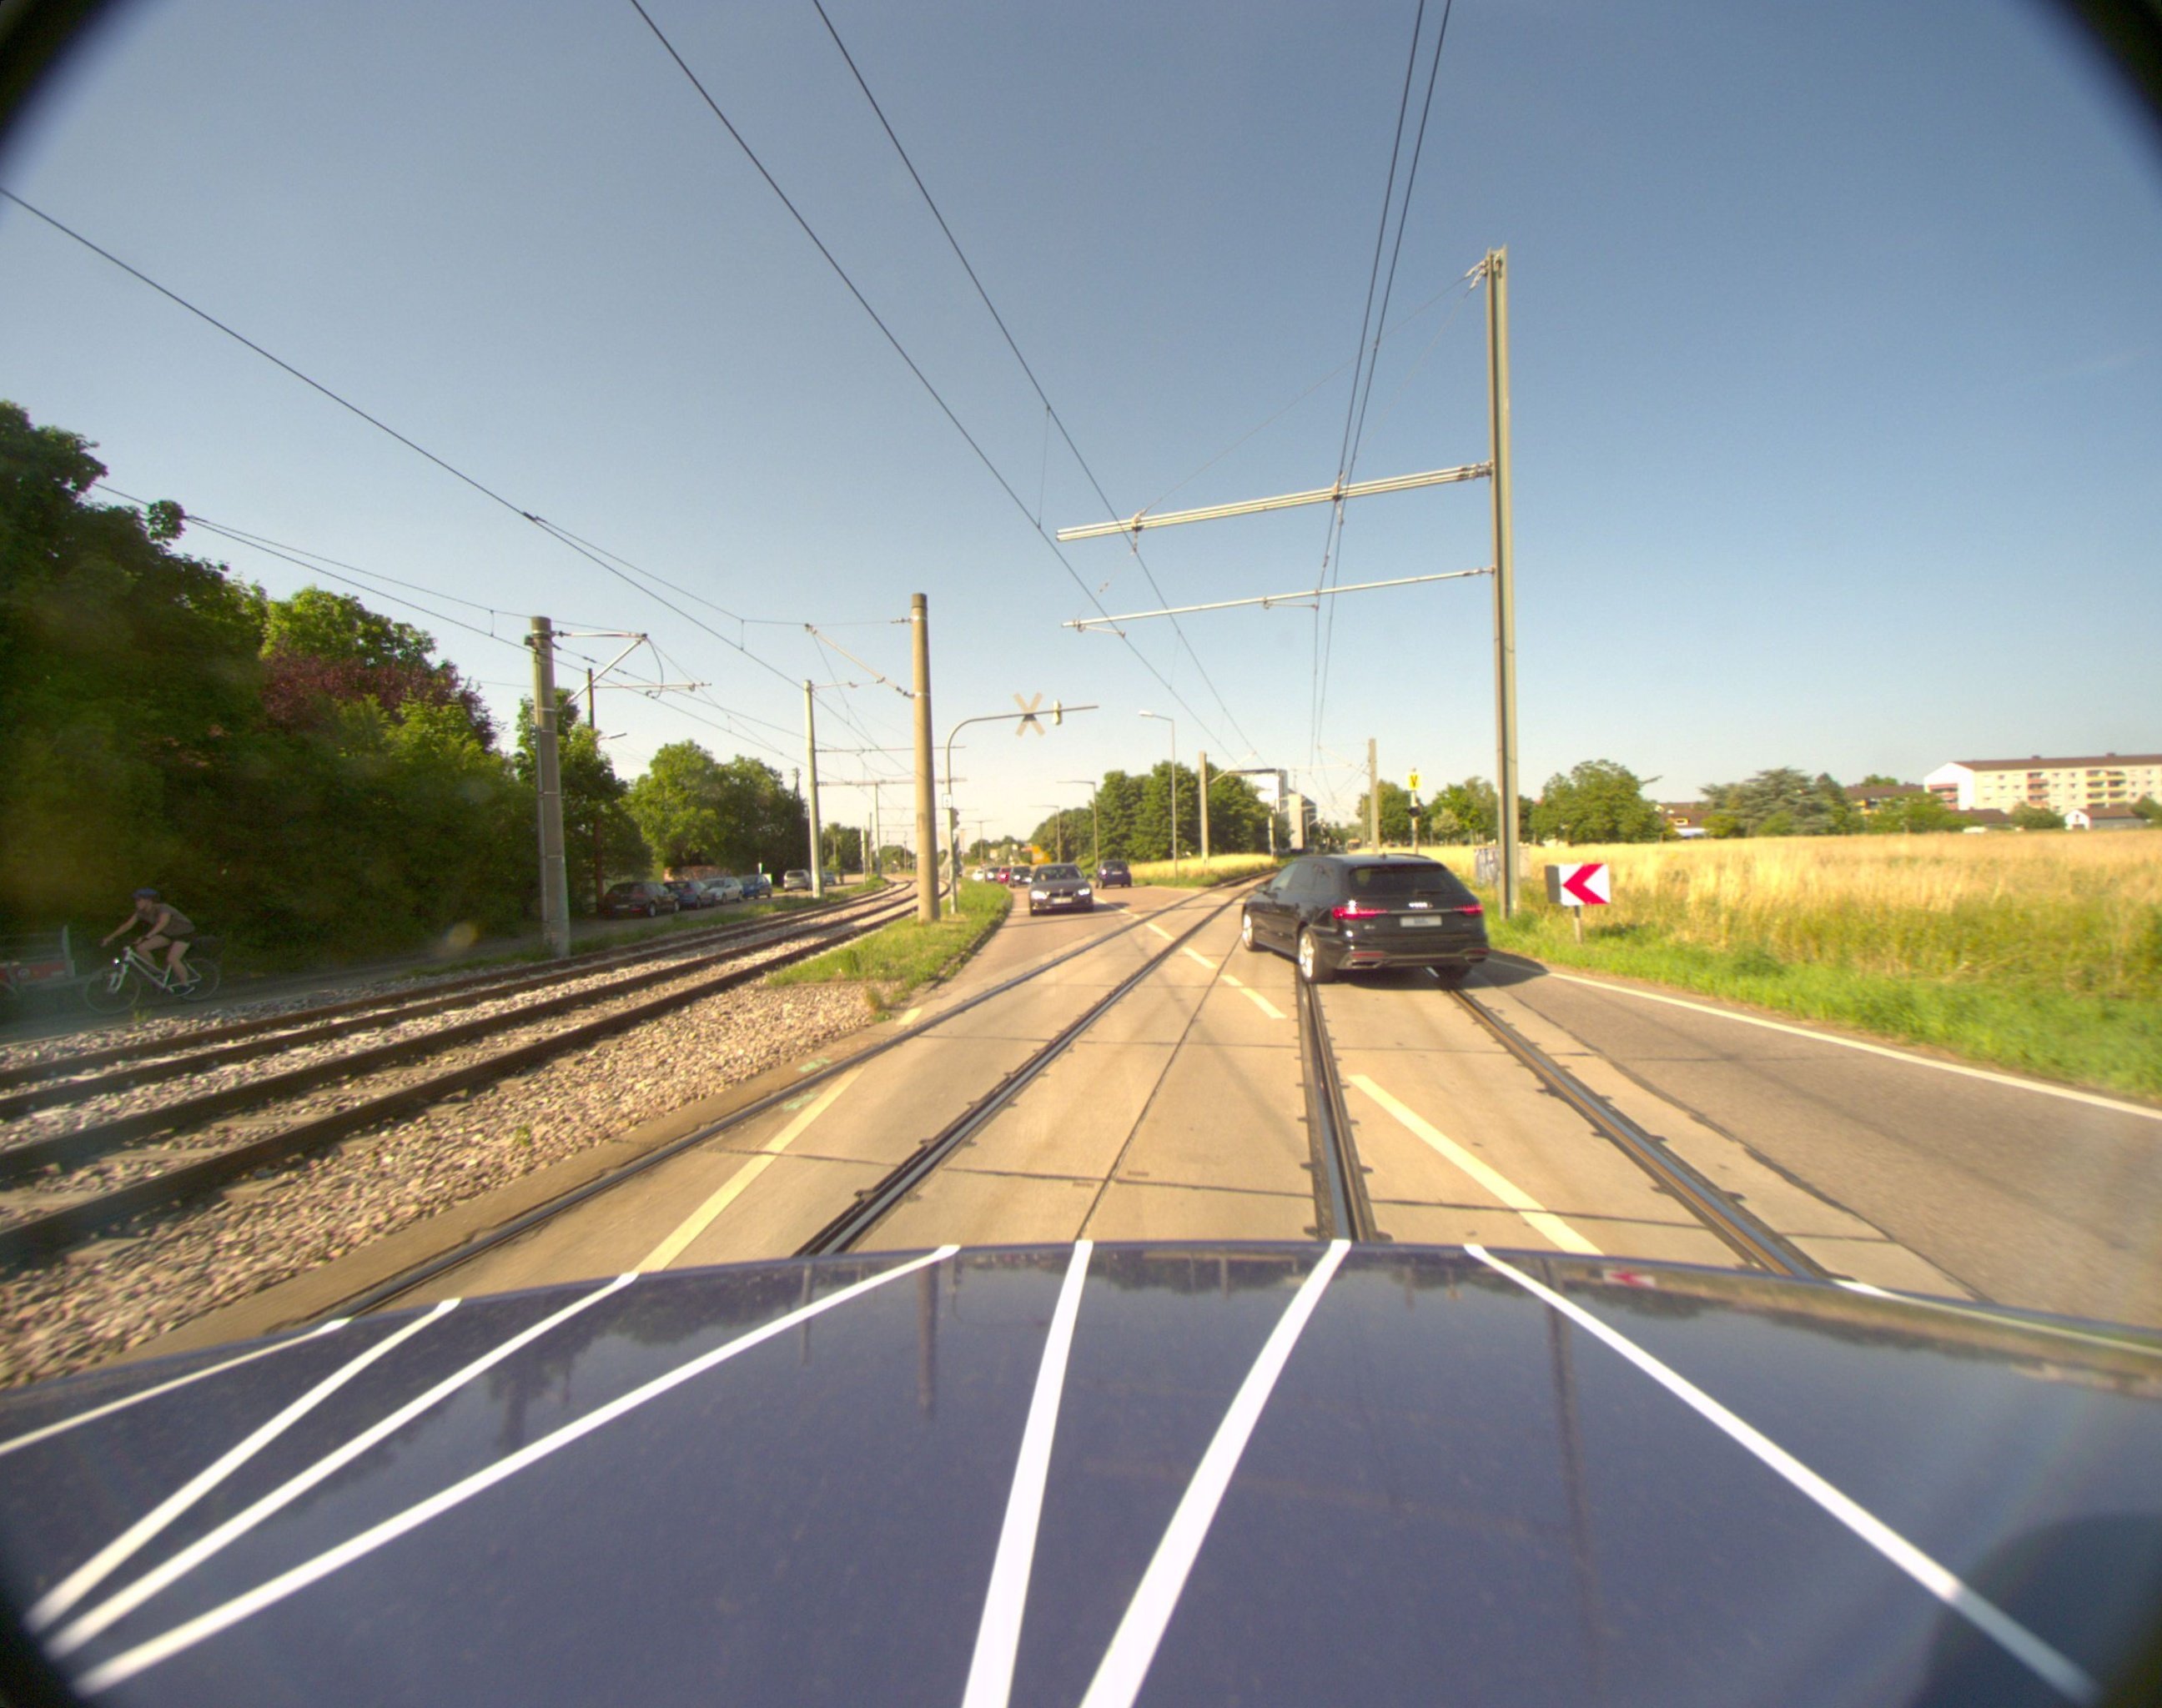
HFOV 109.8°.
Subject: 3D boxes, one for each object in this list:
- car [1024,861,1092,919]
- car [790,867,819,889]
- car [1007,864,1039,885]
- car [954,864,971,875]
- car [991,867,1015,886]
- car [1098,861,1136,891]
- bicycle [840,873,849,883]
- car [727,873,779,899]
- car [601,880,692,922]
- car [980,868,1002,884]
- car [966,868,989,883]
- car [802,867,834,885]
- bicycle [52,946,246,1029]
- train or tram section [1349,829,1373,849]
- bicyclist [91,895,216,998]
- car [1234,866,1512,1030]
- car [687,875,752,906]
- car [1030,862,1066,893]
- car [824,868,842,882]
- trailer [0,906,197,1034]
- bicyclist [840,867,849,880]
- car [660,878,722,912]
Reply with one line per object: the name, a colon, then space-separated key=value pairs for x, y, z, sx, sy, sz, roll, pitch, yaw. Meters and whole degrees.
car: x=-0.598 y=0.988 z=22.511 sx=1.747 sy=1.444 sz=3.947 roll=-3 pitch=0 yaw=1
car: x=-21.484 y=1.861 z=59.083 sx=1.527 sy=1.601 sz=4.479 roll=-2 pitch=0 yaw=-13
car: x=-4.384 y=1.515 z=56.823 sx=1.849 sy=1.347 sz=4.150 roll=-4 pitch=0 yaw=-11
car: x=-17.419 y=2.310 z=111.766 sx=1.839 sy=1.504 sz=4.148 roll=-4 pitch=0 yaw=-16
car: x=-7.400 y=2.101 z=71.623 sx=1.849 sy=1.587 sz=3.735 roll=-4 pitch=0 yaw=-11
car: x=1.897 y=1.168 z=41.179 sx=1.628 sy=1.485 sz=4.000 roll=-3 pitch=-1 yaw=-2
bicycle: x=-23.035 y=2.330 z=74.077 sx=0.645 sy=0.904 sz=1.812 roll=-4 pitch=0 yaw=-13
car: x=-20.282 y=1.952 z=47.161 sx=1.683 sy=1.421 sz=3.910 roll=-4 pitch=0 yaw=-5
car: x=-17.868 y=1.888 z=31.506 sx=1.628 sy=1.402 sz=4.518 roll=-4 pitch=0 yaw=-8
car: x=-9.582 y=2.341 z=80.632 sx=1.609 sy=1.504 sz=4.263 roll=-4 pitch=0 yaw=-16
car: x=-12.244 y=2.509 z=89.803 sx=1.971 sy=1.609 sz=4.302 roll=-2 pitch=0 yaw=-17
car: x=-24.526 y=2.024 z=71.078 sx=1.913 sy=1.581 sz=4.724 roll=-2 pitch=0 yaw=-8
bicycle: x=-13.931 y=1.961 z=11.454 sx=0.644 sy=0.904 sz=1.843 roll=-3 pitch=0 yaw=-3
train or tram section: x=60.054 y=-3.188 z=162.822 sx=2.909 sy=3.548 sz=14.279 roll=-3 pitch=2 yaw=27
bicyclist: x=-13.964 y=1.367 z=11.475 sx=0.631 sy=1.414 sz=0.962 roll=-3 pitch=0 yaw=-3
car: x=3.273 y=0.946 z=9.516 sx=1.697 sy=1.431 sz=4.283 roll=-3 pitch=0 yaw=-1
car: x=-19.516 y=1.937 z=41.224 sx=1.714 sy=1.456 sz=4.388 roll=-2 pitch=0 yaw=-6
car: x=-1.798 y=1.225 z=40.465 sx=1.711 sy=1.444 sz=4.588 roll=-4 pitch=-1 yaw=-4
car: x=-26.910 y=2.251 z=82.568 sx=1.540 sy=1.439 sz=4.126 roll=-2 pitch=0 yaw=-15
trailer: x=-15.791 y=1.749 z=10.497 sx=2.032 sy=1.587 sz=4.259 roll=-5 pitch=0 yaw=0
bicyclist: x=-23.050 y=1.875 z=74.038 sx=0.641 sy=1.226 sz=0.790 roll=-4 pitch=0 yaw=-13
car: x=-18.564 y=1.917 z=36.366 sx=1.489 sy=1.393 sz=4.146 roll=-3 pitch=0 yaw=-11
